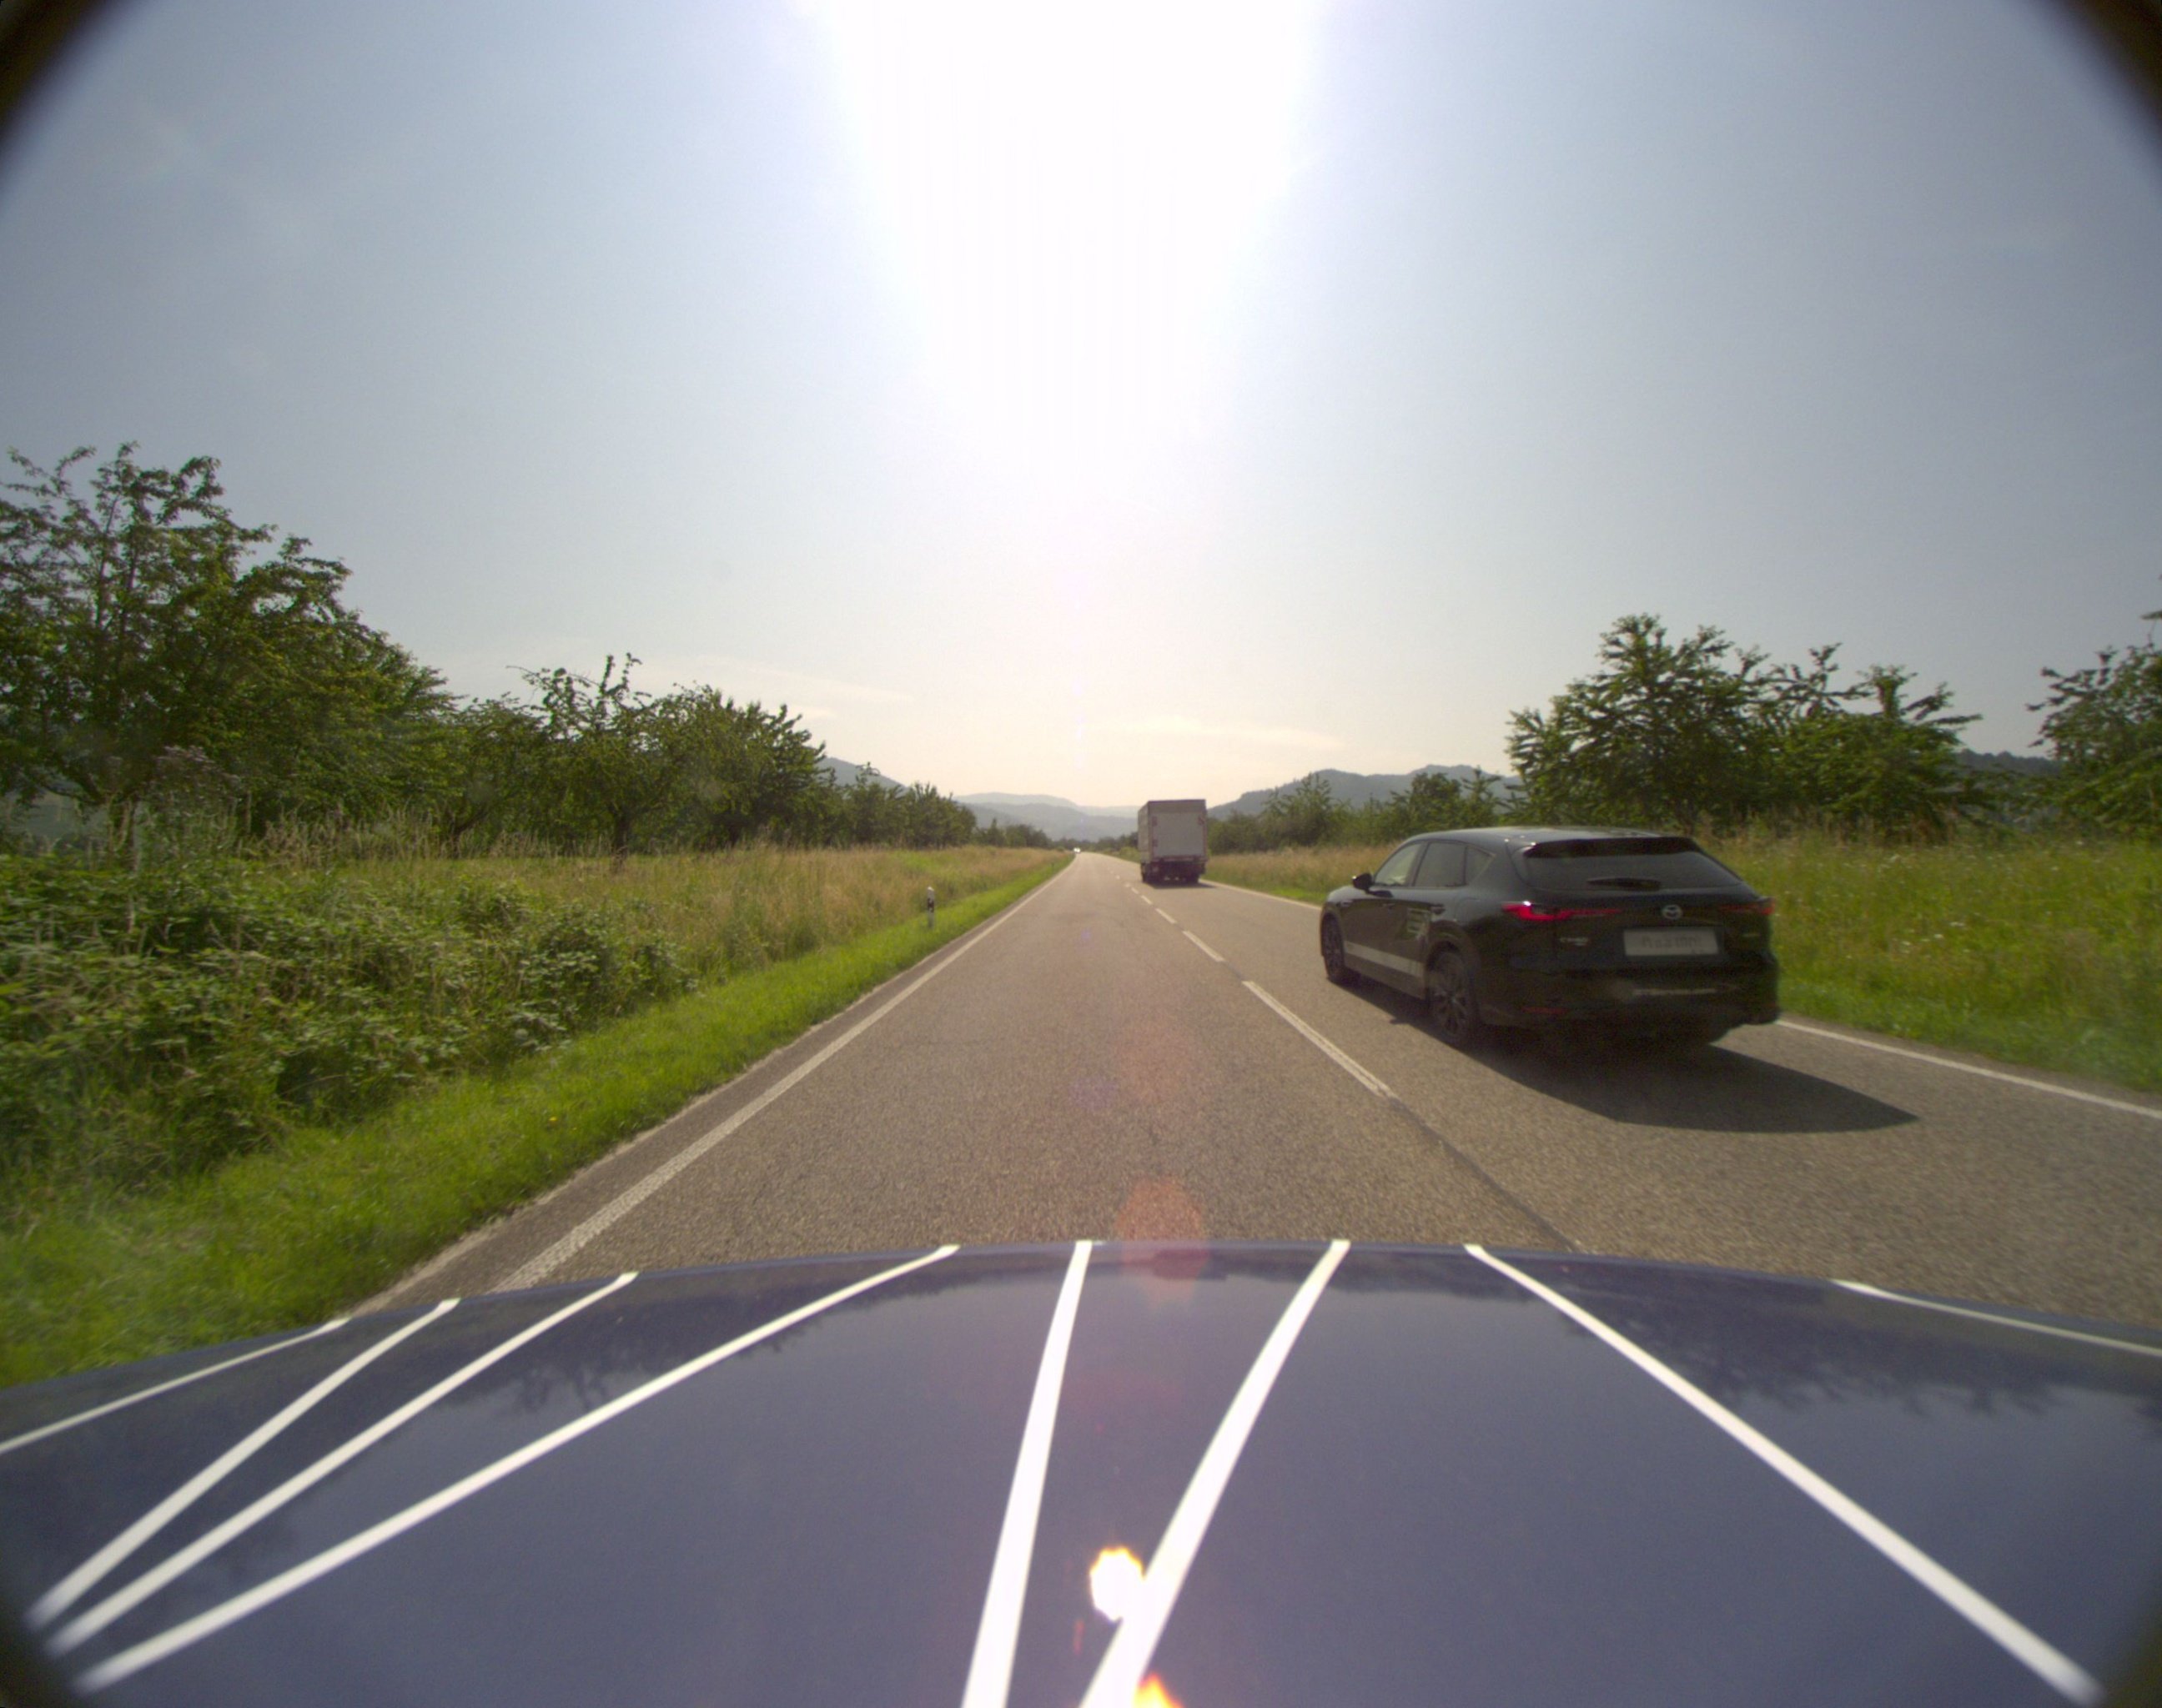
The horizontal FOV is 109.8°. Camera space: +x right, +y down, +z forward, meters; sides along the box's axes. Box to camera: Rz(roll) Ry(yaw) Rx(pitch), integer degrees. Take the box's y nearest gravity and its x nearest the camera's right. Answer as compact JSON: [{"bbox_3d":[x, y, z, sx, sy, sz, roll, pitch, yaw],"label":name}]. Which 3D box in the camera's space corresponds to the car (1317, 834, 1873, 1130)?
[{"bbox_3d":[3.651,0.721,6.579,1.840,1.668,4.410,-1,1,0],"label":"car"}]

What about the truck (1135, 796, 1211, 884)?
[{"bbox_3d":[4.428,-0.682,38.655,2.671,3.817,10.207,-1,1,1],"label":"truck"}]
